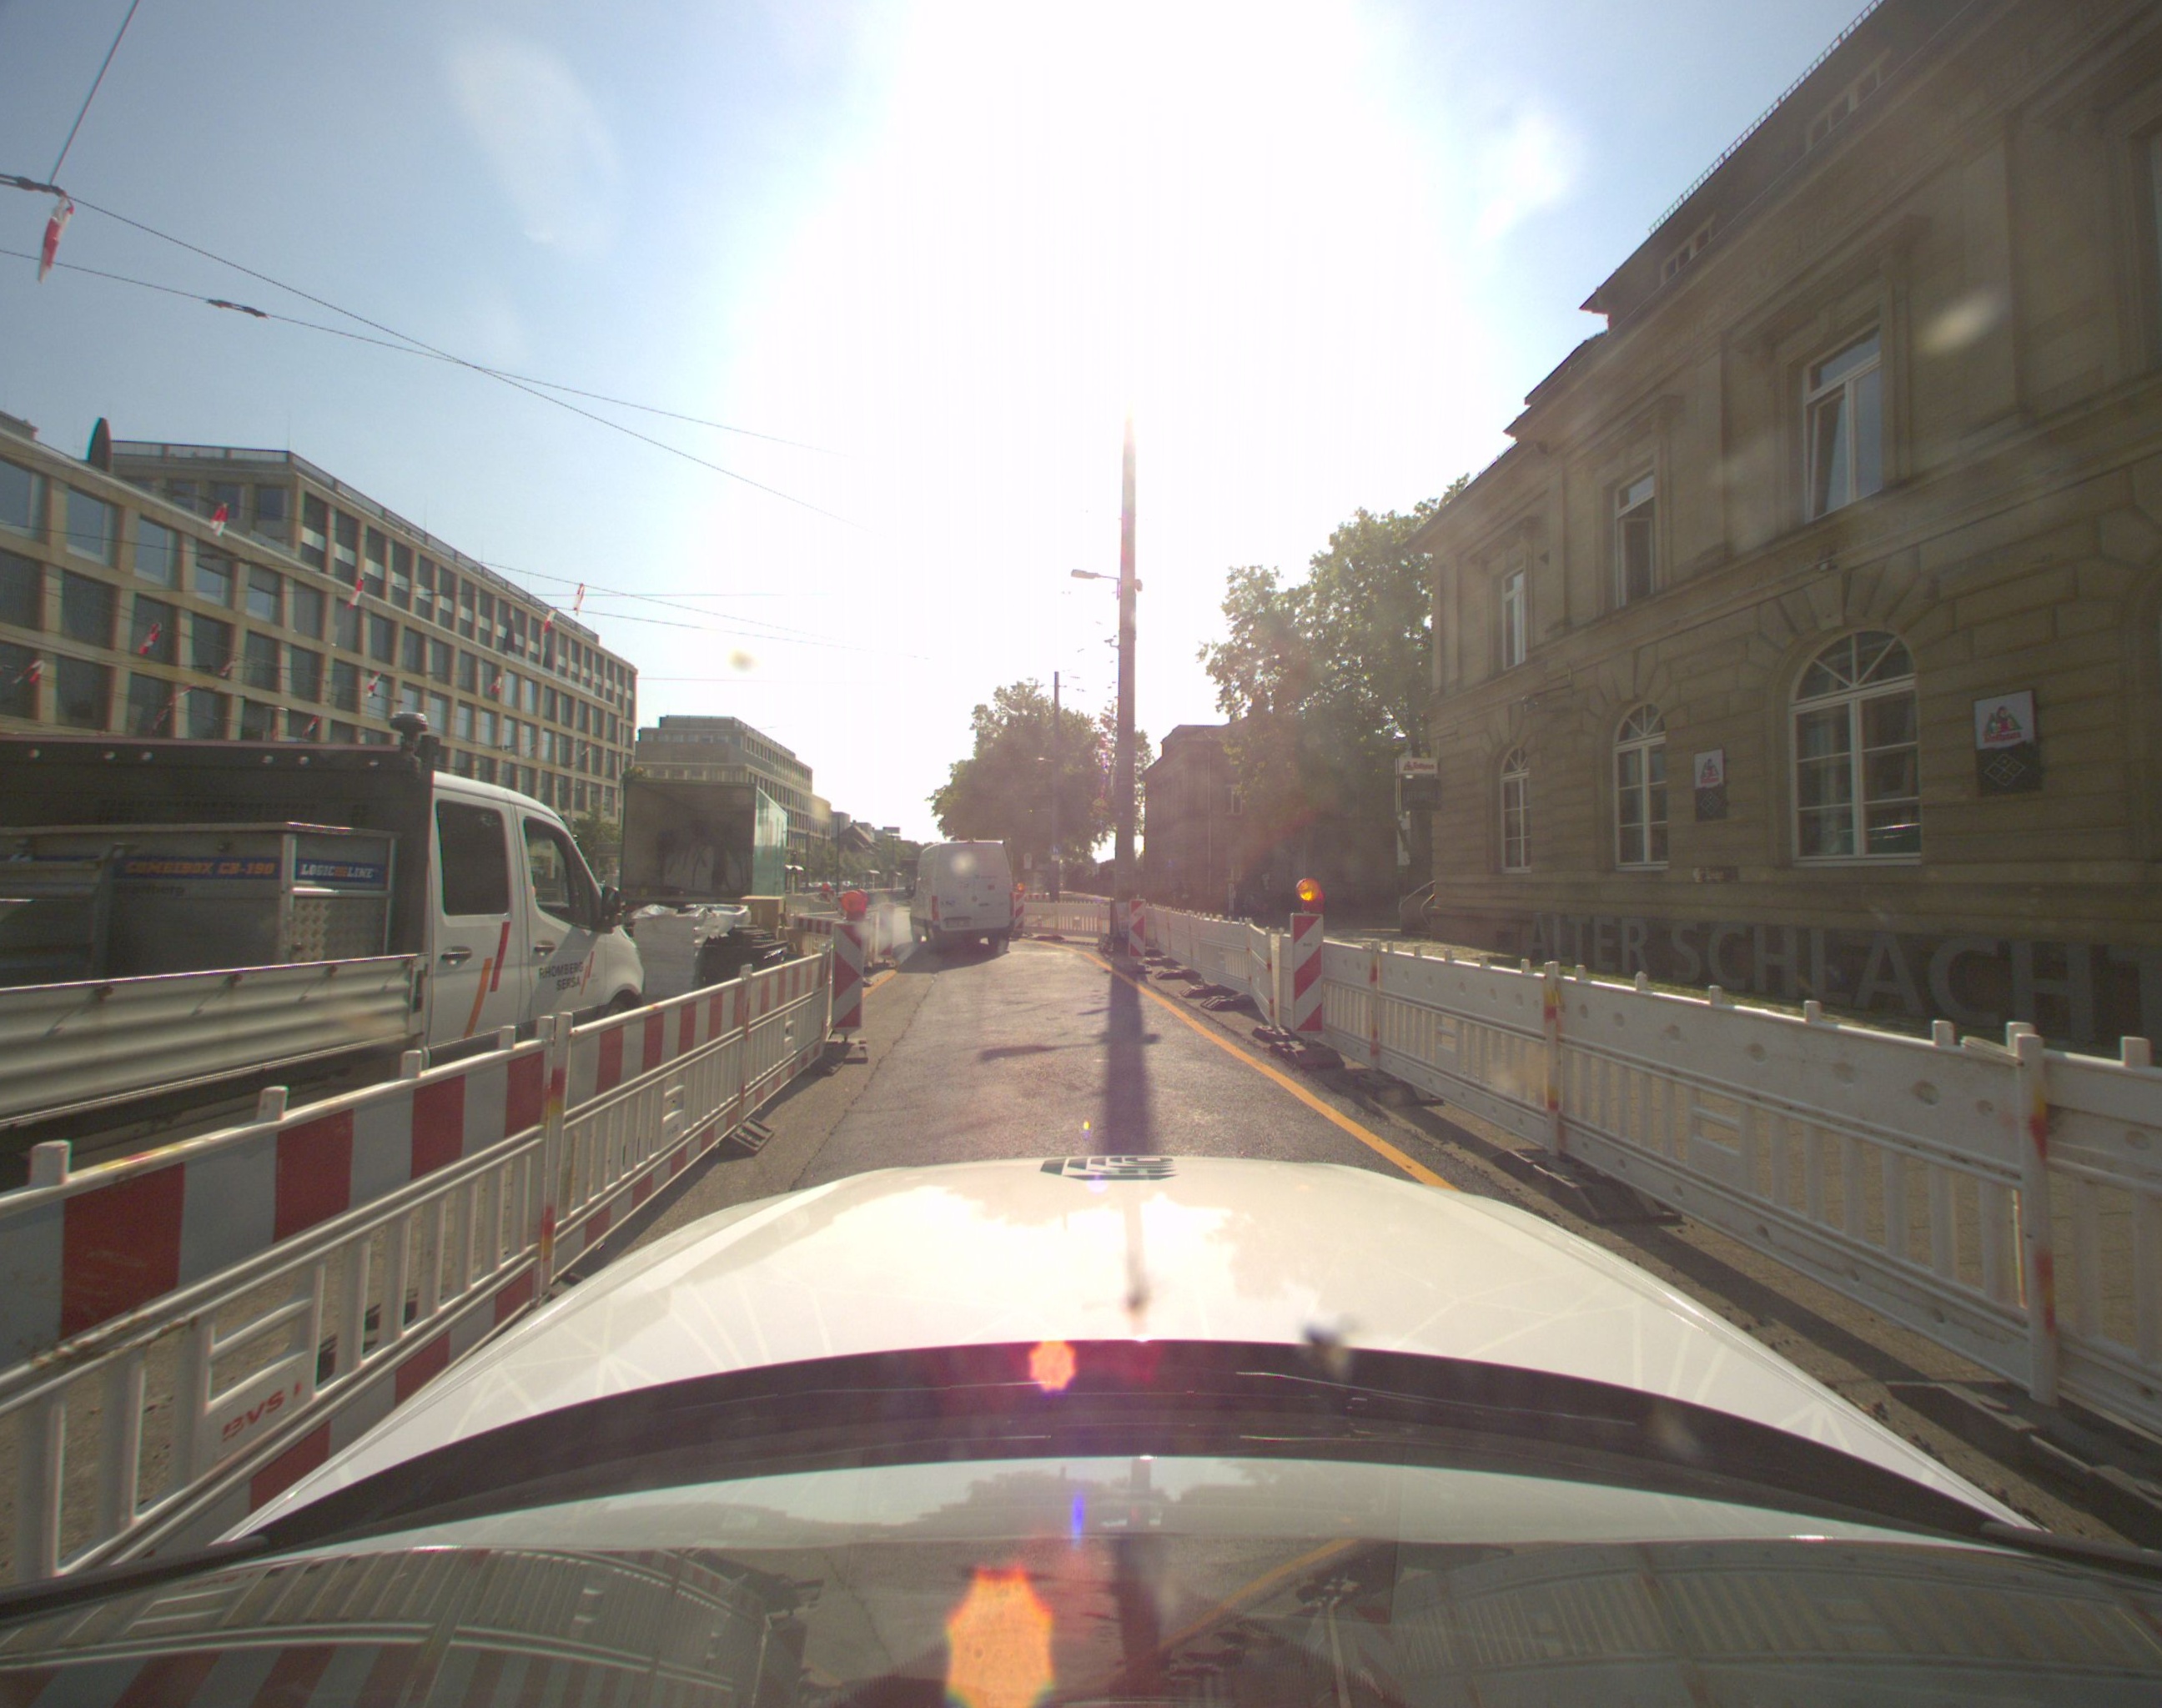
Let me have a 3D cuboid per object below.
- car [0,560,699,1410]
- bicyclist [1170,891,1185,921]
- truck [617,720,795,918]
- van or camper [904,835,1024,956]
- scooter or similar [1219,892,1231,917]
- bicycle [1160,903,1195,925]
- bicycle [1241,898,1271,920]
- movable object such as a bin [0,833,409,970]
[{"bbox_3d":[-4.414,0.471,4.163,2.205,2.425,7.180,1,-3,-7],"label":"car"},{"bbox_3d":[4.937,2.663,41.798,0.588,1.540,0.473,-2,-4,43],"label":"bicyclist"},{"bbox_3d":[-9.062,-0.545,20.765,2.799,3.913,8.368,3,-3,-17],"label":"truck"},{"bbox_3d":[-3.160,1.060,20.956,2.121,2.683,5.218,3,-3,-17],"label":"van or camper"},{"bbox_3d":[7.407,2.589,41.938,0.424,1.229,1.173,1,-3,2],"label":"scooter or similar"},{"bbox_3d":[4.942,3.053,41.774,1.834,1.089,0.495,-2,-4,43],"label":"bicycle"},{"bbox_3d":[8.829,2.772,41.213,0.493,1.000,1.803,2,-1,-24],"label":"bicycle"},{"bbox_3d":[-23.711,1.325,22.423,3.607,2.959,8.458,2,-4,-5],"label":"movable object such as a bin"}]
